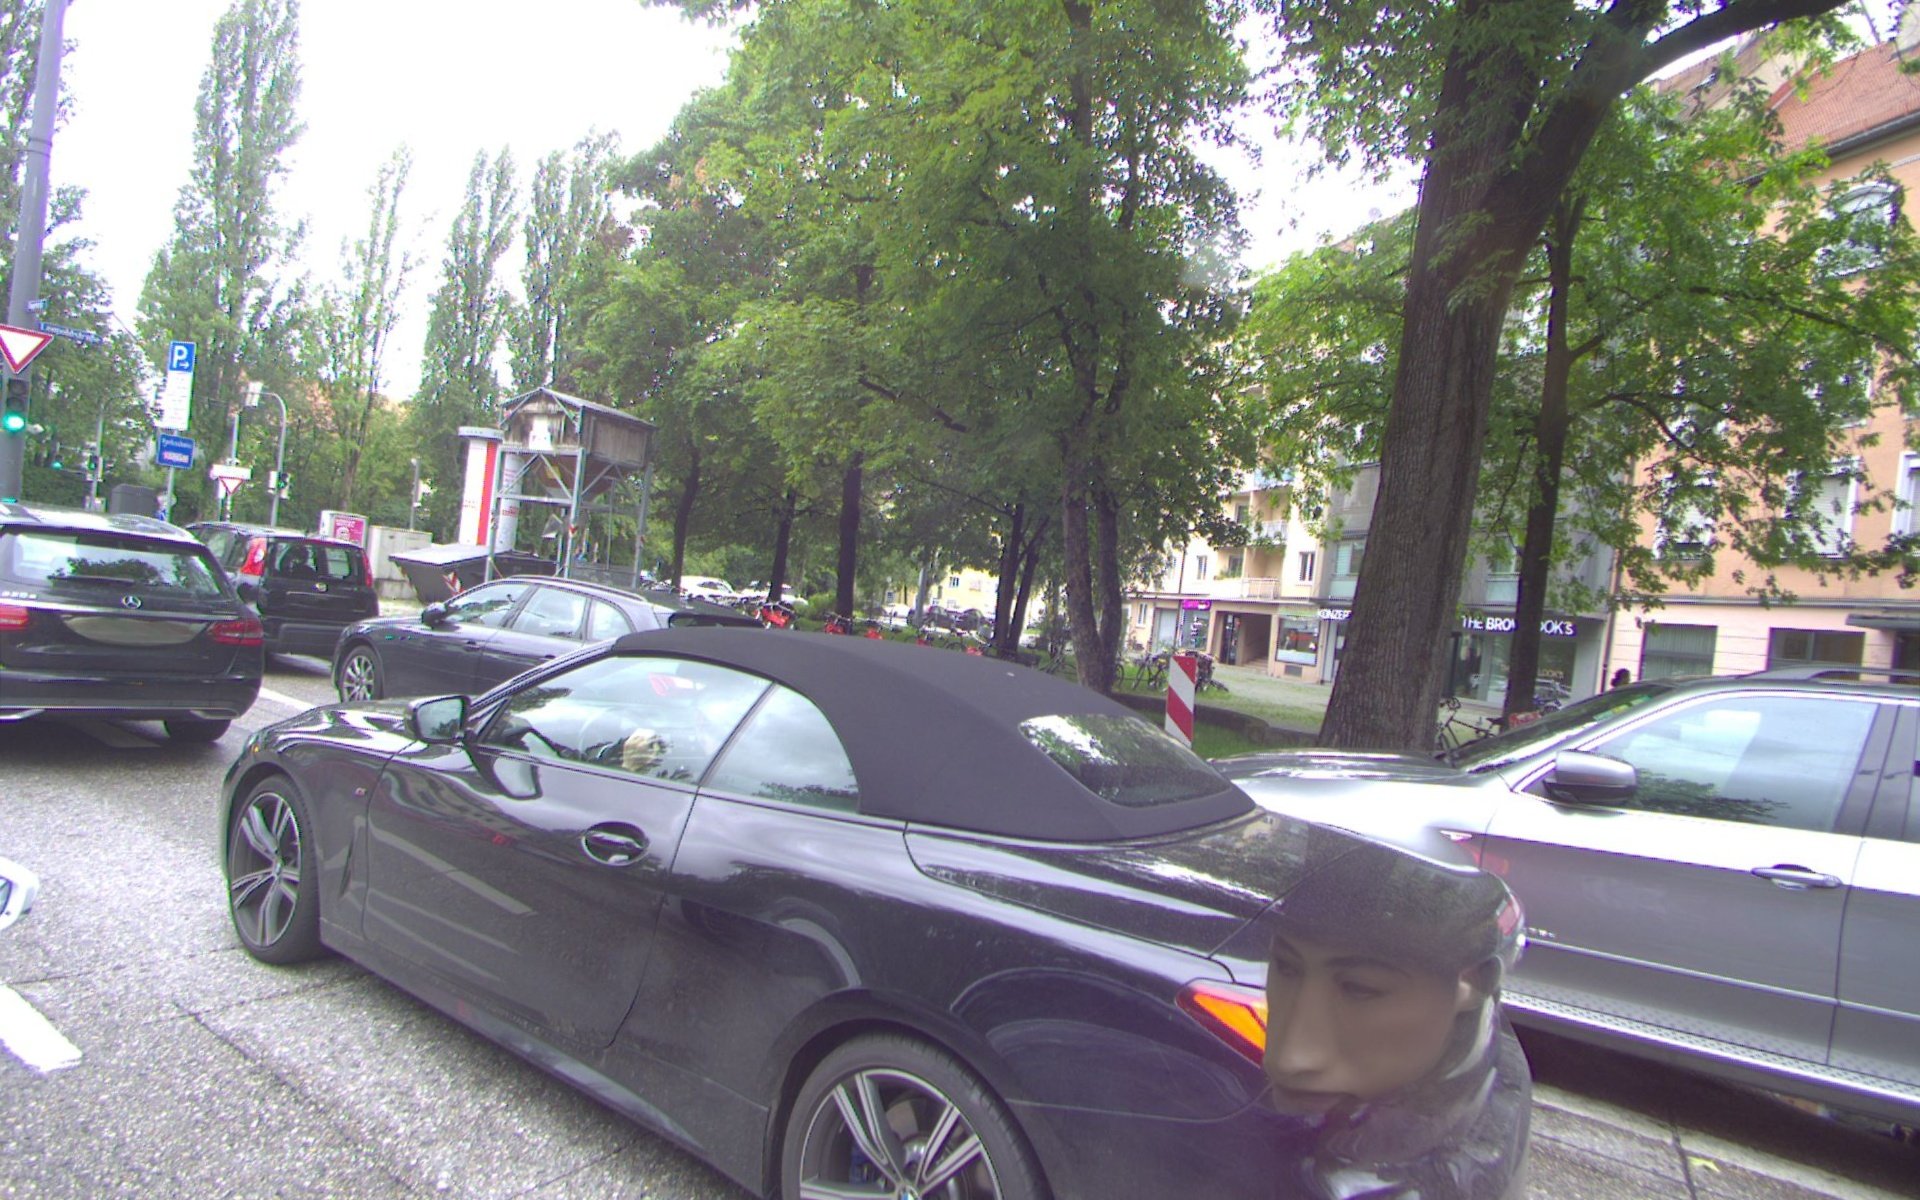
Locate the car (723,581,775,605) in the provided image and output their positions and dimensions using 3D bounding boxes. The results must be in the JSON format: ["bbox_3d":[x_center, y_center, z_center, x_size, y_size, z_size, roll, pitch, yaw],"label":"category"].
[{"bbox_3d":[-16.725,-0.544,80.031,1.755,1.504,4.134,7,0,27],"label":"car"}]

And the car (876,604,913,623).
[{"bbox_3d":[-6.554,1.364,101.070,1.755,1.504,4.134,7,0,27],"label":"car"}]

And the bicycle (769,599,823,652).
[{"bbox_3d":[-3.093,0.501,19.069,0.307,0.904,1.414,7,-2,17],"label":"bicycle"}]

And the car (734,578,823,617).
[{"bbox_3d":[-8.443,-0.084,47.241,1.700,1.424,4.370,7,0,27],"label":"car"}]

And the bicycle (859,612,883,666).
[{"bbox_3d":[-1.608,0.689,18.122,0.308,0.904,1.412,7,-2,-5],"label":"bicycle"}]

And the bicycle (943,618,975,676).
[{"bbox_3d":[-0.023,0.788,17.101,0.308,0.904,1.412,7,-2,-5],"label":"bicycle"}]

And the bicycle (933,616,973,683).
[{"bbox_3d":[-0.137,1.131,23.094,0.619,1.372,2.471,7,-2,3],"label":"bicycle"}]

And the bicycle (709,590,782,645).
[{"bbox_3d":[-4.110,0.343,19.348,0.308,0.904,1.408,6,-2,38],"label":"bicycle"}]

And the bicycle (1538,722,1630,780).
[{"bbox_3d":[9.998,2.417,16.149,0.316,0.732,1.167,8,-2,-36],"label":"bicycle"}]

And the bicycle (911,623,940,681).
[{"bbox_3d":[-0.595,0.856,17.012,0.308,0.904,1.412,7,-2,-5],"label":"bicycle"}]

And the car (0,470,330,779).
[{"bbox_3d":[-6.533,-0.043,6.830,4.626,1.567,1.867,7,-2,32],"label":"car"}]

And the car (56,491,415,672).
[{"bbox_3d":[-8.625,-0.260,11.864,4.480,1.568,1.832,7,0,33],"label":"car"}]

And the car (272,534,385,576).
[{"bbox_3d":[-31.190,-2.172,49.779,1.756,1.504,4.345,7,0,30],"label":"car"}]

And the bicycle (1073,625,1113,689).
[{"bbox_3d":[3.308,1.387,25.189,0.619,1.374,2.467,7,2,2],"label":"bicycle"}]

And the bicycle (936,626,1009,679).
[{"bbox_3d":[0.261,1.066,20.296,1.395,0.904,0.311,8,-1,-25],"label":"bicycle"}]

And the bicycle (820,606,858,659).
[{"bbox_3d":[-2.210,0.600,18.474,0.307,0.905,1.413,7,0,6],"label":"bicycle"}]

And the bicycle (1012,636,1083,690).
[{"bbox_3d":[1.757,1.263,20.309,1.391,0.904,0.312,6,-1,38],"label":"bicycle"}]

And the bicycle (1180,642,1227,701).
[{"bbox_3d":[6.737,1.946,27.957,0.619,1.374,2.467,7,2,2],"label":"bicycle"}]

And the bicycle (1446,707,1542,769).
[{"bbox_3d":[7.975,2.052,15.055,1.163,0.732,0.317,6,-2,43],"label":"bicycle"}]

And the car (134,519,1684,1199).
[{"bbox_3d":[-0.660,0.693,3.341,4.719,1.406,1.726,7,0,32],"label":"car"}]

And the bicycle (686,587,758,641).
[{"bbox_3d":[-4.664,0.288,19.783,0.308,0.904,1.408,6,-2,38],"label":"bicycle"}]

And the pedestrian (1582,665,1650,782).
[{"bbox_3d":[11.450,2.145,17.562,0.622,1.924,0.626,8,-1,-31],"label":"pedestrian"}]

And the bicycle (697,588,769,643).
[{"bbox_3d":[-4.398,0.314,19.567,0.308,0.904,1.408,6,-2,38],"label":"bicycle"}]

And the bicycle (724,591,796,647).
[{"bbox_3d":[-3.790,0.376,19.144,0.308,0.904,1.408,6,-2,38],"label":"bicycle"}]

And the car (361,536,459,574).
[{"bbox_3d":[-29.536,-2.384,54.125,1.756,1.504,4.251,7,0,30],"label":"car"}]

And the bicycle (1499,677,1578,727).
[{"bbox_3d":[18.275,3.218,31.838,0.500,1.304,2.238,7,-2,-22],"label":"bicycle"}]

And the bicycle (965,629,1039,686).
[{"bbox_3d":[0.783,1.087,19.112,1.391,0.904,0.312,6,-1,38],"label":"bicycle"}]

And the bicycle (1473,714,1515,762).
[{"bbox_3d":[8.872,2.292,16.698,0.314,0.732,1.174,6,-2,40],"label":"bicycle"}]

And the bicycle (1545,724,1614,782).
[{"bbox_3d":[8.957,2.216,14.535,1.167,0.732,0.316,9,-2,-33],"label":"bicycle"}]

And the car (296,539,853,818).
[{"bbox_3d":[-3.335,0.503,8.426,4.563,1.479,1.770,7,0,30],"label":"car"}]

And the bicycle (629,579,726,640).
[{"bbox_3d":[-5.739,0.219,20.601,0.619,1.028,2.241,7,-2,21],"label":"bicycle"}]

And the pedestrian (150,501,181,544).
[{"bbox_3d":[-33.446,-3.270,42.345,0.692,1.682,0.550,7,-1,-18],"label":"pedestrian"}]

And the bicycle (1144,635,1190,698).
[{"bbox_3d":[5.355,1.693,26.145,0.619,1.374,2.467,7,2,2],"label":"bicycle"}]

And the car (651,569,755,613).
[{"bbox_3d":[-10.751,-0.342,42.367,1.700,1.424,4.370,7,0,27],"label":"car"}]

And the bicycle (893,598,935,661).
[{"bbox_3d":[-1.083,0.680,24.337,0.619,1.374,2.468,7,1,3],"label":"bicycle"}]

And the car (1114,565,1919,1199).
[{"bbox_3d":[3.189,1.067,4.251,4.475,1.842,1.935,7,0,27],"label":"car"}]
